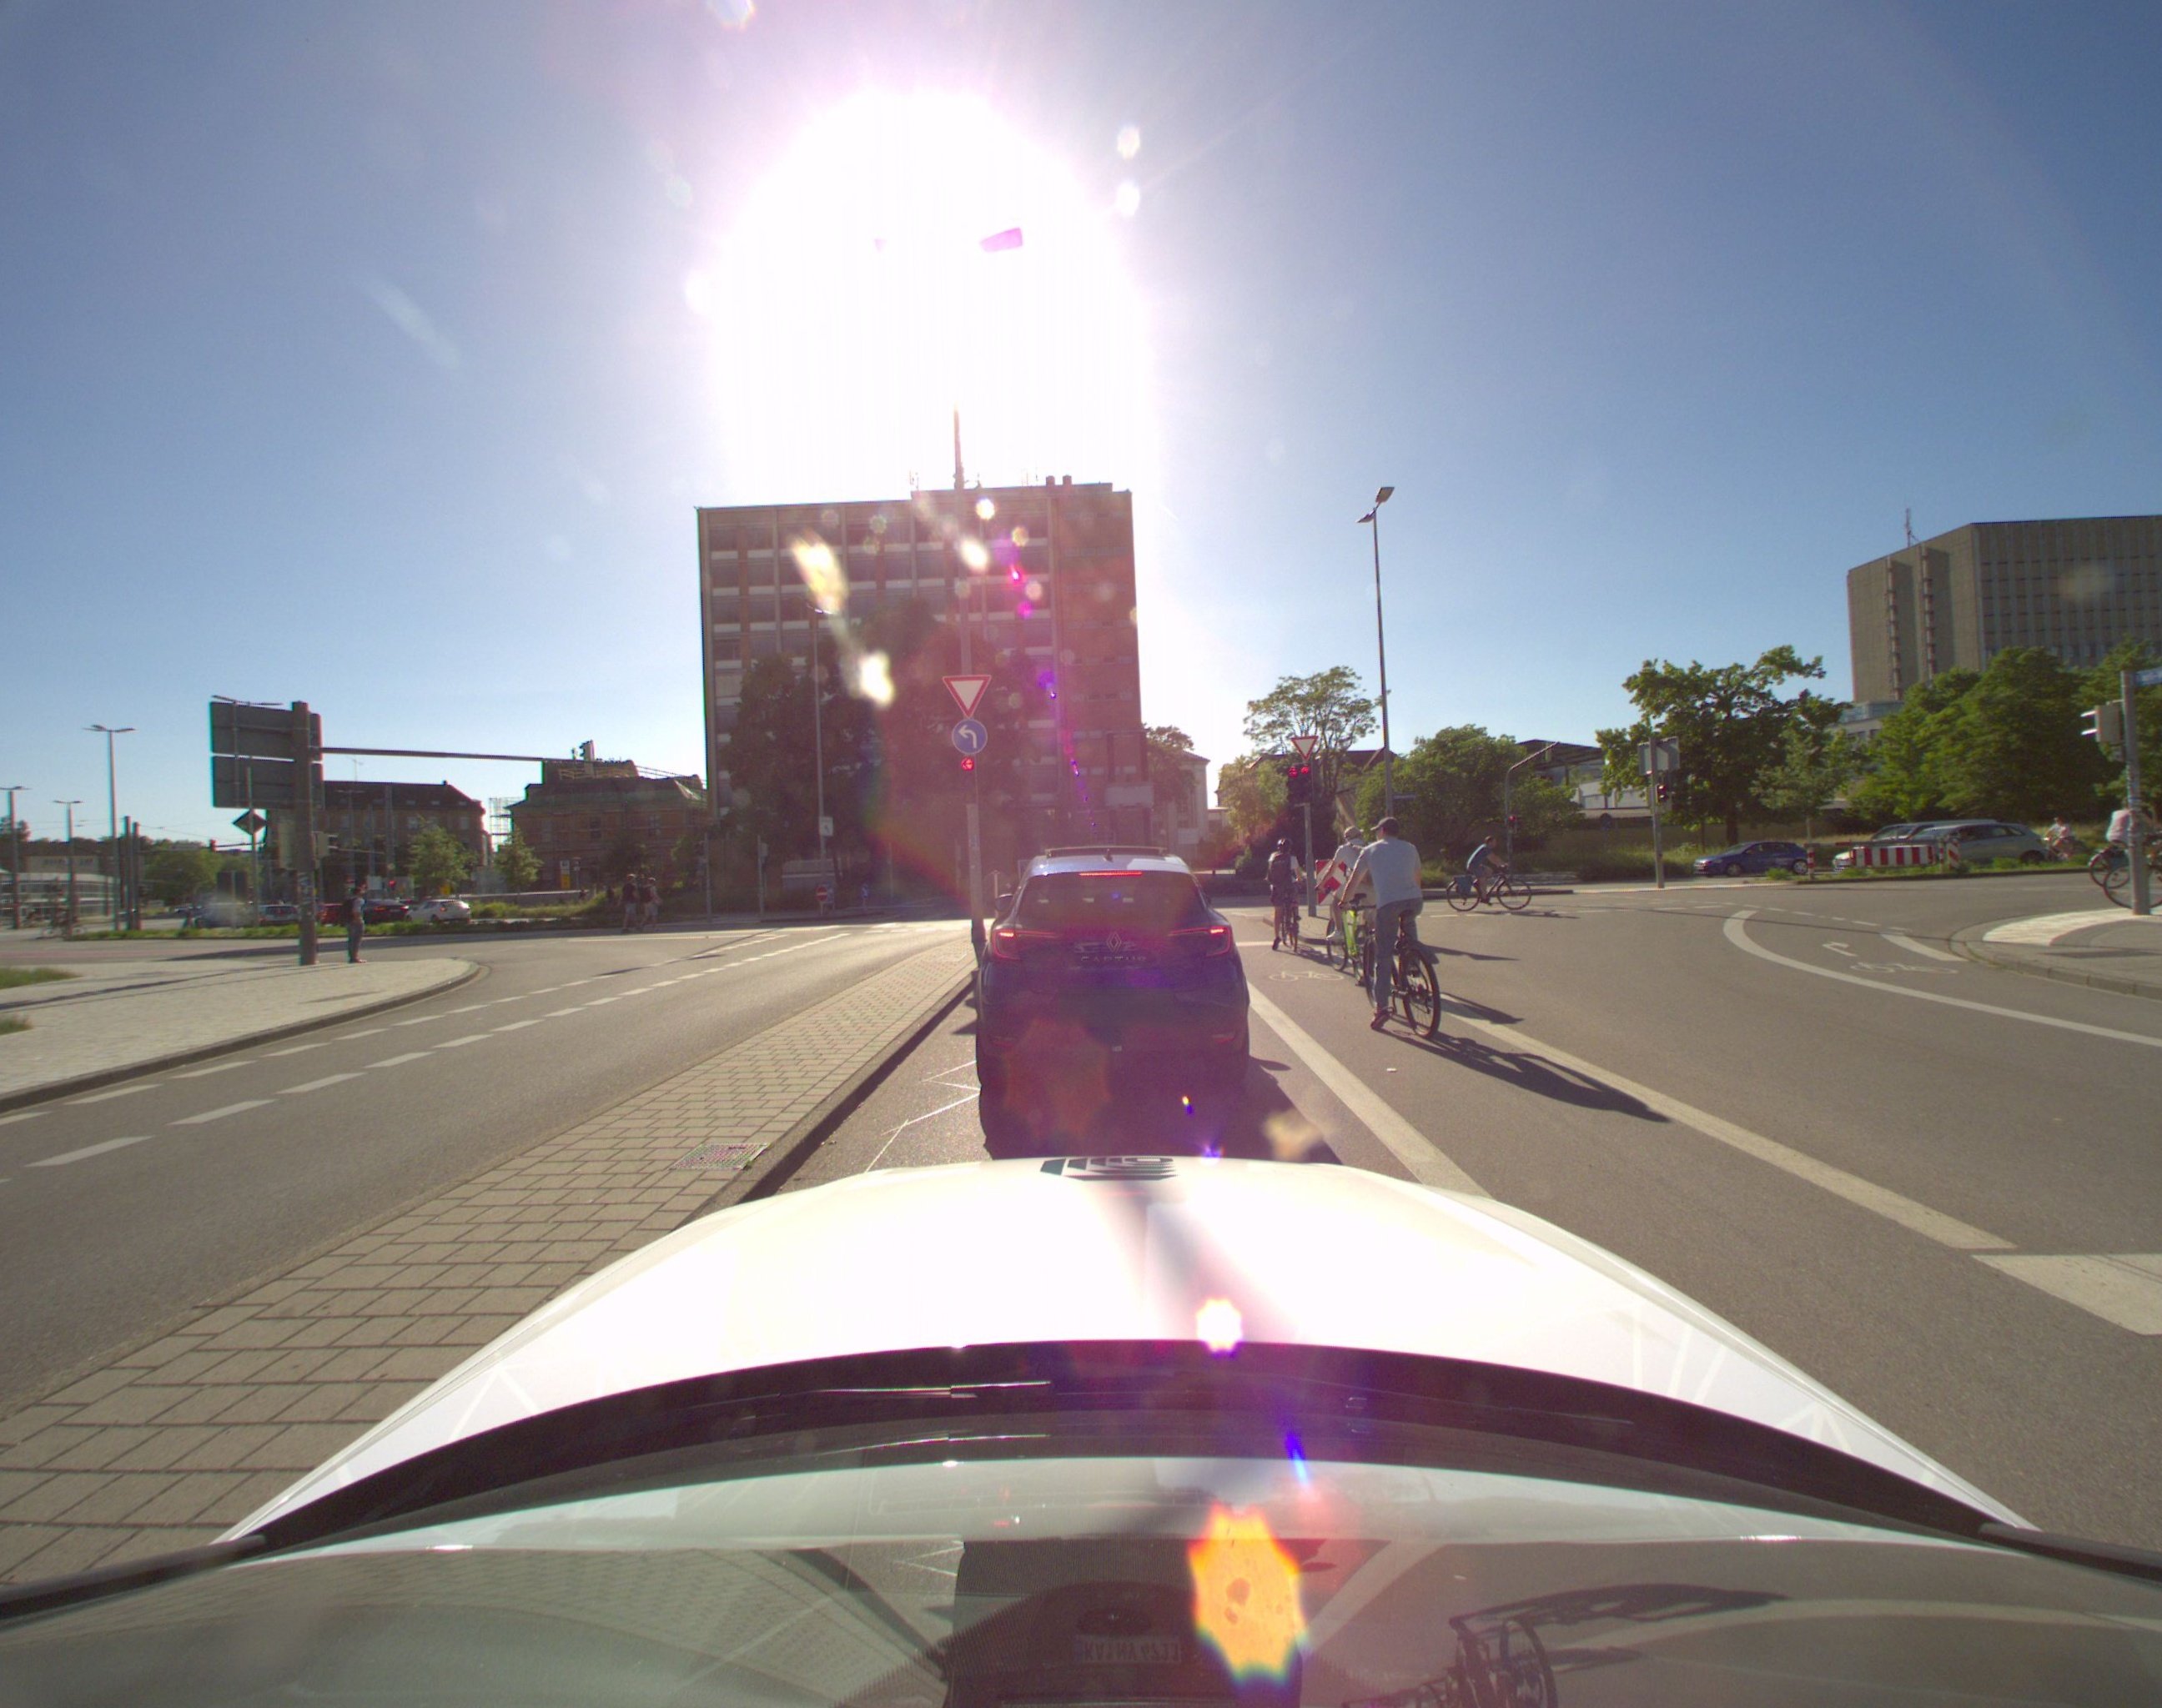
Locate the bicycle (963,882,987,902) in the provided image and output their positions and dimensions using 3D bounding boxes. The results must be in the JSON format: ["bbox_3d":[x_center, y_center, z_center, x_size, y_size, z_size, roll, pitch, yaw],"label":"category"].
[{"bbox_3d":[-5.731,2.044,44.168,0.751,0.985,2.098,-2,0,8],"label":"bicycle"}]

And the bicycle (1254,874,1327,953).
[{"bbox_3d":[3.256,0.890,12.824,0.687,1.089,1.923,-1,0,2],"label":"bicycle"}]

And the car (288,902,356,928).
[{"bbox_3d":[-48.187,3.868,51.695,3.834,1.508,1.805,-3,-1,25],"label":"car"}]

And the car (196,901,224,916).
[{"bbox_3d":[-135.935,8.522,127.188,1.797,2.013,3.963,-2,-1,-29],"label":"car"}]

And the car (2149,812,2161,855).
[{"bbox_3d":[36.898,-0.761,25.328,4.534,1.398,1.798,-3,-1,7],"label":"car"}]

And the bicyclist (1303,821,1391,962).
[{"bbox_3d":[3.179,0.430,9.830,0.676,1.594,1.142,-1,-1,2],"label":"bicyclist"}]

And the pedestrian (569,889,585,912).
[{"bbox_3d":[-38.585,3.557,62.347,0.678,1.730,0.761,-2,-1,-1],"label":"pedestrian"}]

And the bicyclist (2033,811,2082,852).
[{"bbox_3d":[33.721,-0.773,28.126,0.870,1.343,0.612,-2,-1,7],"label":"bicyclist"}]

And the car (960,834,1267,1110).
[{"bbox_3d":[0.194,0.704,6.764,1.783,1.585,3.913,-1,0,0],"label":"car"}]

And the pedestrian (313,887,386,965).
[{"bbox_3d":[-17.243,1.673,19.221,0.647,1.730,1.066,-3,-1,15],"label":"pedestrian"}]

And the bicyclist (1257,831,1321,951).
[{"bbox_3d":[3.236,0.559,12.777,0.697,1.791,1.142,-1,-1,2],"label":"bicyclist"}]

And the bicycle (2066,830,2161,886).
[{"bbox_3d":[20.236,0.061,15.540,1.956,0.988,0.523,-4,-1,9],"label":"bicycle"}]

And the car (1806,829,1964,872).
[{"bbox_3d":[30.293,-0.135,30.790,3.965,1.398,1.798,-3,-1,7],"label":"car"}]

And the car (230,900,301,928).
[{"bbox_3d":[-48.868,3.604,48.802,3.834,1.508,1.805,-3,-1,25],"label":"car"}]

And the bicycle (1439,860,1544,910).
[{"bbox_3d":[8.950,0.669,17.813,1.887,0.973,0.651,-4,-1,9],"label":"bicycle"}]

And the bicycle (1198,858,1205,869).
[{"bbox_3d":[13.683,1.091,92.713,0.691,1.140,2.446,-2,0,7],"label":"bicycle"}]

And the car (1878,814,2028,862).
[{"bbox_3d":[35.867,-0.617,33.605,3.965,1.749,1.798,-2,-1,7],"label":"car"}]

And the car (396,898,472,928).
[{"bbox_3d":[-36.398,3.336,45.832,3.834,1.508,1.805,-3,-1,25],"label":"car"}]

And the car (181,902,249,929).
[{"bbox_3d":[-54.917,3.891,51.634,3.834,1.508,1.805,-3,-1,25],"label":"car"}]

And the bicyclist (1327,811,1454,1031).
[{"bbox_3d":[2.709,0.553,7.247,0.680,1.791,1.142,-1,-1,2],"label":"bicyclist"}]

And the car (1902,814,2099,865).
[{"bbox_3d":[29.217,-0.433,25.999,3.965,1.398,1.798,-3,-1,7],"label":"car"}]

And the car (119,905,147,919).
[{"bbox_3d":[-153.144,9.375,131.565,2.008,2.014,3.956,0,-1,-35],"label":"car"}]

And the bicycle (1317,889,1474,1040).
[{"bbox_3d":[2.718,0.898,7.281,0.687,1.089,1.923,-1,0,2],"label":"bicycle"}]

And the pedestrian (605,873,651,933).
[{"bbox_3d":[-14.635,1.572,26.324,0.807,1.862,0.913,-3,-1,15],"label":"pedestrian"}]

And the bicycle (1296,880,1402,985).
[{"bbox_3d":[3.184,0.890,9.863,0.687,1.089,1.923,-1,0,2],"label":"bicycle"}]

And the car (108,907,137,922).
[{"bbox_3d":[-145.181,9.148,123.337,2.010,2.013,3.954,-2,-1,-38],"label":"car"}]

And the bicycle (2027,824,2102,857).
[{"bbox_3d":[33.921,-0.457,28.099,1.673,1.033,0.612,-2,-1,7],"label":"bicycle"}]

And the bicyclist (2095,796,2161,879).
[{"bbox_3d":[20.312,-0.319,15.536,1.062,1.528,0.518,-4,-1,9],"label":"bicyclist"}]

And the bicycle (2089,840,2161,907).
[{"bbox_3d":[15.911,0.268,11.623,0.640,0.958,1.866,-2,-1,-39],"label":"bicycle"}]

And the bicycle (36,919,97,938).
[{"bbox_3d":[-65.651,4.801,52.719,0.800,1.062,2.434,-1,-1,38],"label":"bicycle"}]

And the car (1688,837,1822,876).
[{"bbox_3d":[28.131,0.107,34.104,3.965,1.398,1.798,-3,-1,7],"label":"car"}]

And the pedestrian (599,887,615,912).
[{"bbox_3d":[-34.187,3.267,58.739,0.680,1.730,0.759,-2,-1,-7],"label":"pedestrian"}]

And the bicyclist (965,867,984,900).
[{"bbox_3d":[-5.764,1.610,44.068,0.751,1.716,1.001,-2,-1,7],"label":"bicyclist"}]

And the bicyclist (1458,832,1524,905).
[{"bbox_3d":[8.955,0.323,17.816,1.045,1.513,0.643,-4,-1,9],"label":"bicyclist"}]

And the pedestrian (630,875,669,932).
[{"bbox_3d":[-13.778,1.568,26.013,0.675,1.730,0.764,-3,-1,15],"label":"pedestrian"}]

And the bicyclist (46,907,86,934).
[{"bbox_3d":[-65.668,4.301,52.684,0.800,1.634,1.586,-1,-1,38],"label":"bicyclist"}]

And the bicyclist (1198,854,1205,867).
[{"bbox_3d":[13.588,0.734,91.987,0.691,1.481,0.719,-2,-1,6],"label":"bicyclist"}]

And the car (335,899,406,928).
[{"bbox_3d":[-42.507,3.561,48.715,3.834,1.508,1.805,-3,-1,25],"label":"car"}]
